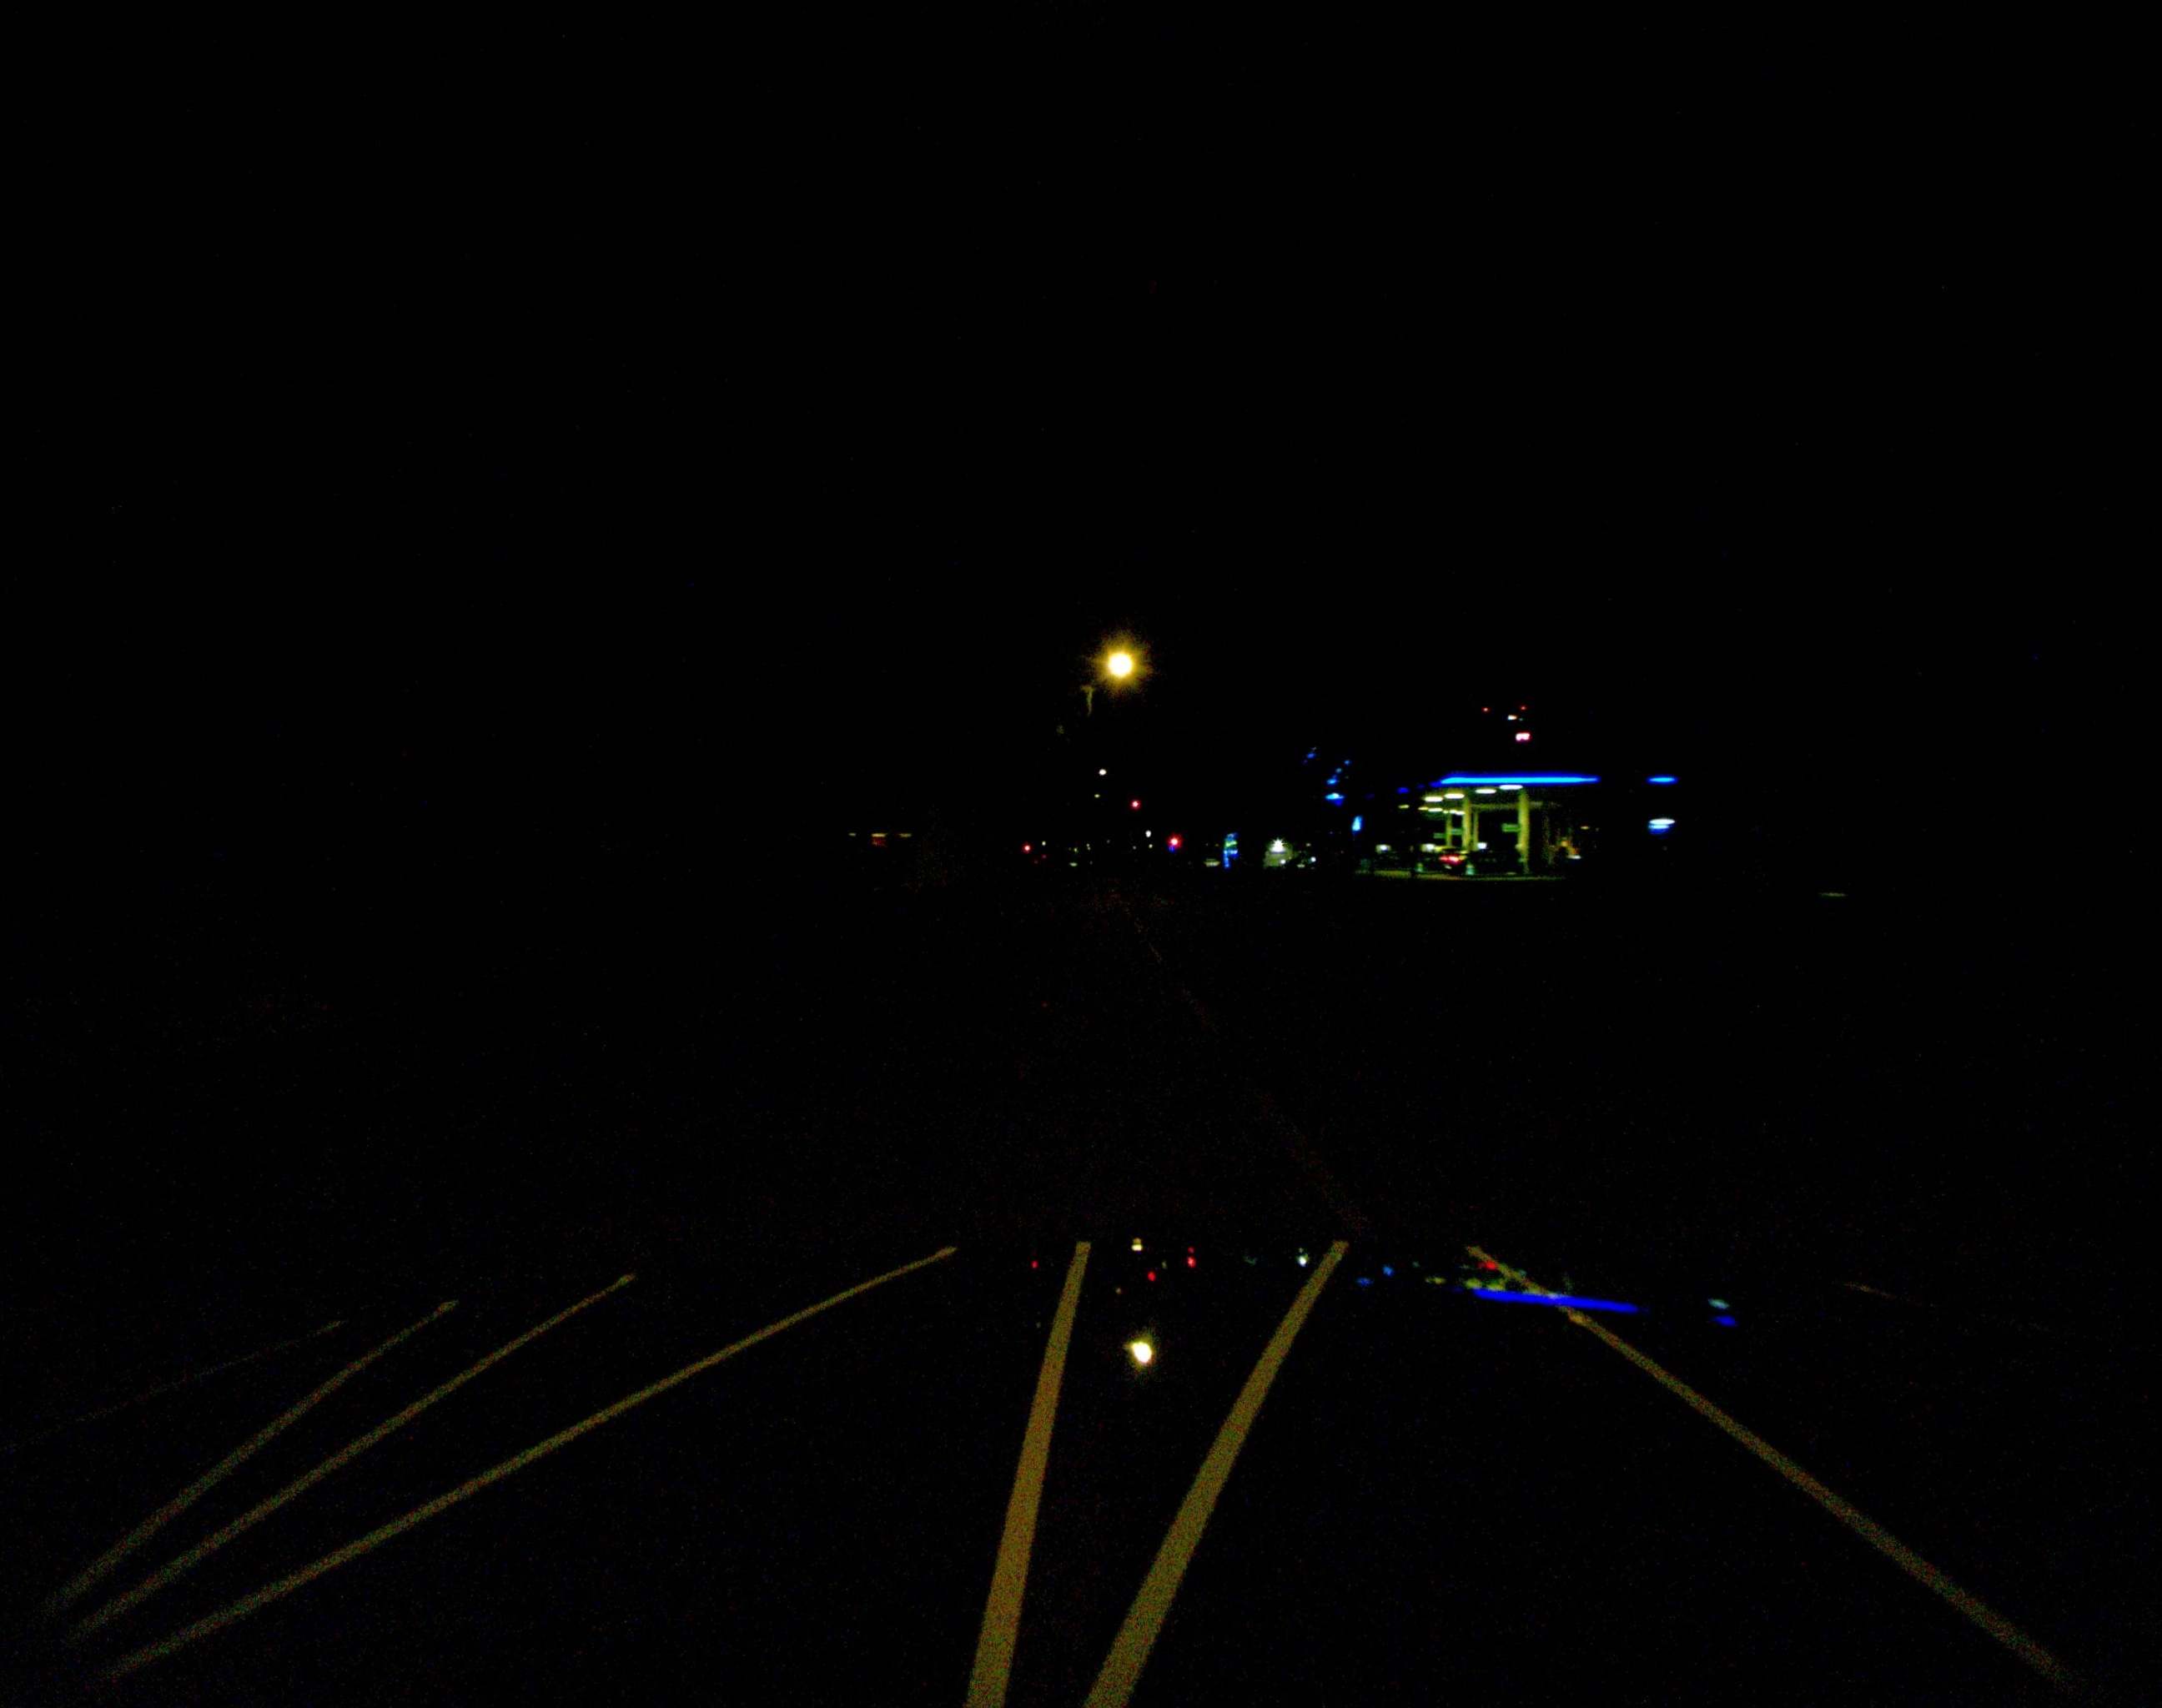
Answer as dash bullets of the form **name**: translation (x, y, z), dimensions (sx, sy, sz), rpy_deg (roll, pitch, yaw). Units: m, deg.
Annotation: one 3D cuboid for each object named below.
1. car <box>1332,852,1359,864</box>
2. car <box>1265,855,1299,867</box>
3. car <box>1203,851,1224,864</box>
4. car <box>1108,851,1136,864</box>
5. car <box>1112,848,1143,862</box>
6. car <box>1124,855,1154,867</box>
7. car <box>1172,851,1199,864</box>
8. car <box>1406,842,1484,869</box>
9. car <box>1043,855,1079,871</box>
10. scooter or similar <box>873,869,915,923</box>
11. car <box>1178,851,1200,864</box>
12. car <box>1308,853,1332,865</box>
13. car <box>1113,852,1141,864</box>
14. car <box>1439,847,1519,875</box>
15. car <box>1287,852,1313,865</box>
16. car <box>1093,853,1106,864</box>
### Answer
- **car**: translation (32.794, 0.490, 94.382), dimensions (1.864, 1.469, 4.086), rpy_deg (-1, 0, 0)
- **car**: translation (27.419, 0.952, 103.628), dimensions (4.281, 1.469, 1.730), rpy_deg (-1, 0, -27)
- **car**: translation (16.470, 0.436, 94.796), dimensions (1.864, 1.452, 4.070), rpy_deg (-1, 0, 0)
- **car**: translation (5.868, 0.449, 108.980), dimensions (3.848, 1.781, 1.634), rpy_deg (1, 0, -3)
- **car**: translation (6.425, 0.164, 105.543), dimensions (4.055, 1.879, 1.634), rpy_deg (1, 0, -3)
- **car**: translation (7.577, 0.904, 99.136), dimensions (3.763, 1.576, 1.634), rpy_deg (1, 0, -3)
- **car**: translation (14.491, 0.458, 105.229), dimensions (3.575, 1.689, 1.634), rpy_deg (1, 0, 0)
- **car**: translation (24.693, 0.094, 51.652), dimensions (4.357, 1.717, 1.979), rpy_deg (-1, 0, 0)
- **car**: translation (-2.252, 1.031, 87.520), dimensions (4.082, 1.848, 1.853), rpy_deg (0, 0, 0)
- **scooter or similar**: translation (-4.648, 1.011, 18.992), dimensions (0.548, 1.196, 1.910), rpy_deg (2, 1, 1)
- **car**: translation (13.475, 0.451, 94.876), dimensions (1.999, 1.548, 4.387), rpy_deg (-1, 0, -1)
- **car**: translation (29.680, 0.617, 94.479), dimensions (1.732, 1.469, 4.086), rpy_deg (-1, 0, 0)
- **car**: translation (6.297, 0.553, 104.037), dimensions (3.576, 1.619, 1.620), rpy_deg (1, 0, -3)
- **car**: translation (23.231, 0.397, 44.398), dimensions (3.759, 1.524, 1.670), rpy_deg (-1, 0, 0)
- **car**: translation (27.227, 0.564, 94.567), dimensions (1.864, 1.469, 4.354), rpy_deg (-1, 0, 0)
- **car**: translation (2.721, 0.611, 113.507), dimensions (1.936, 1.646, 3.833), rpy_deg (0, 0, 0)
